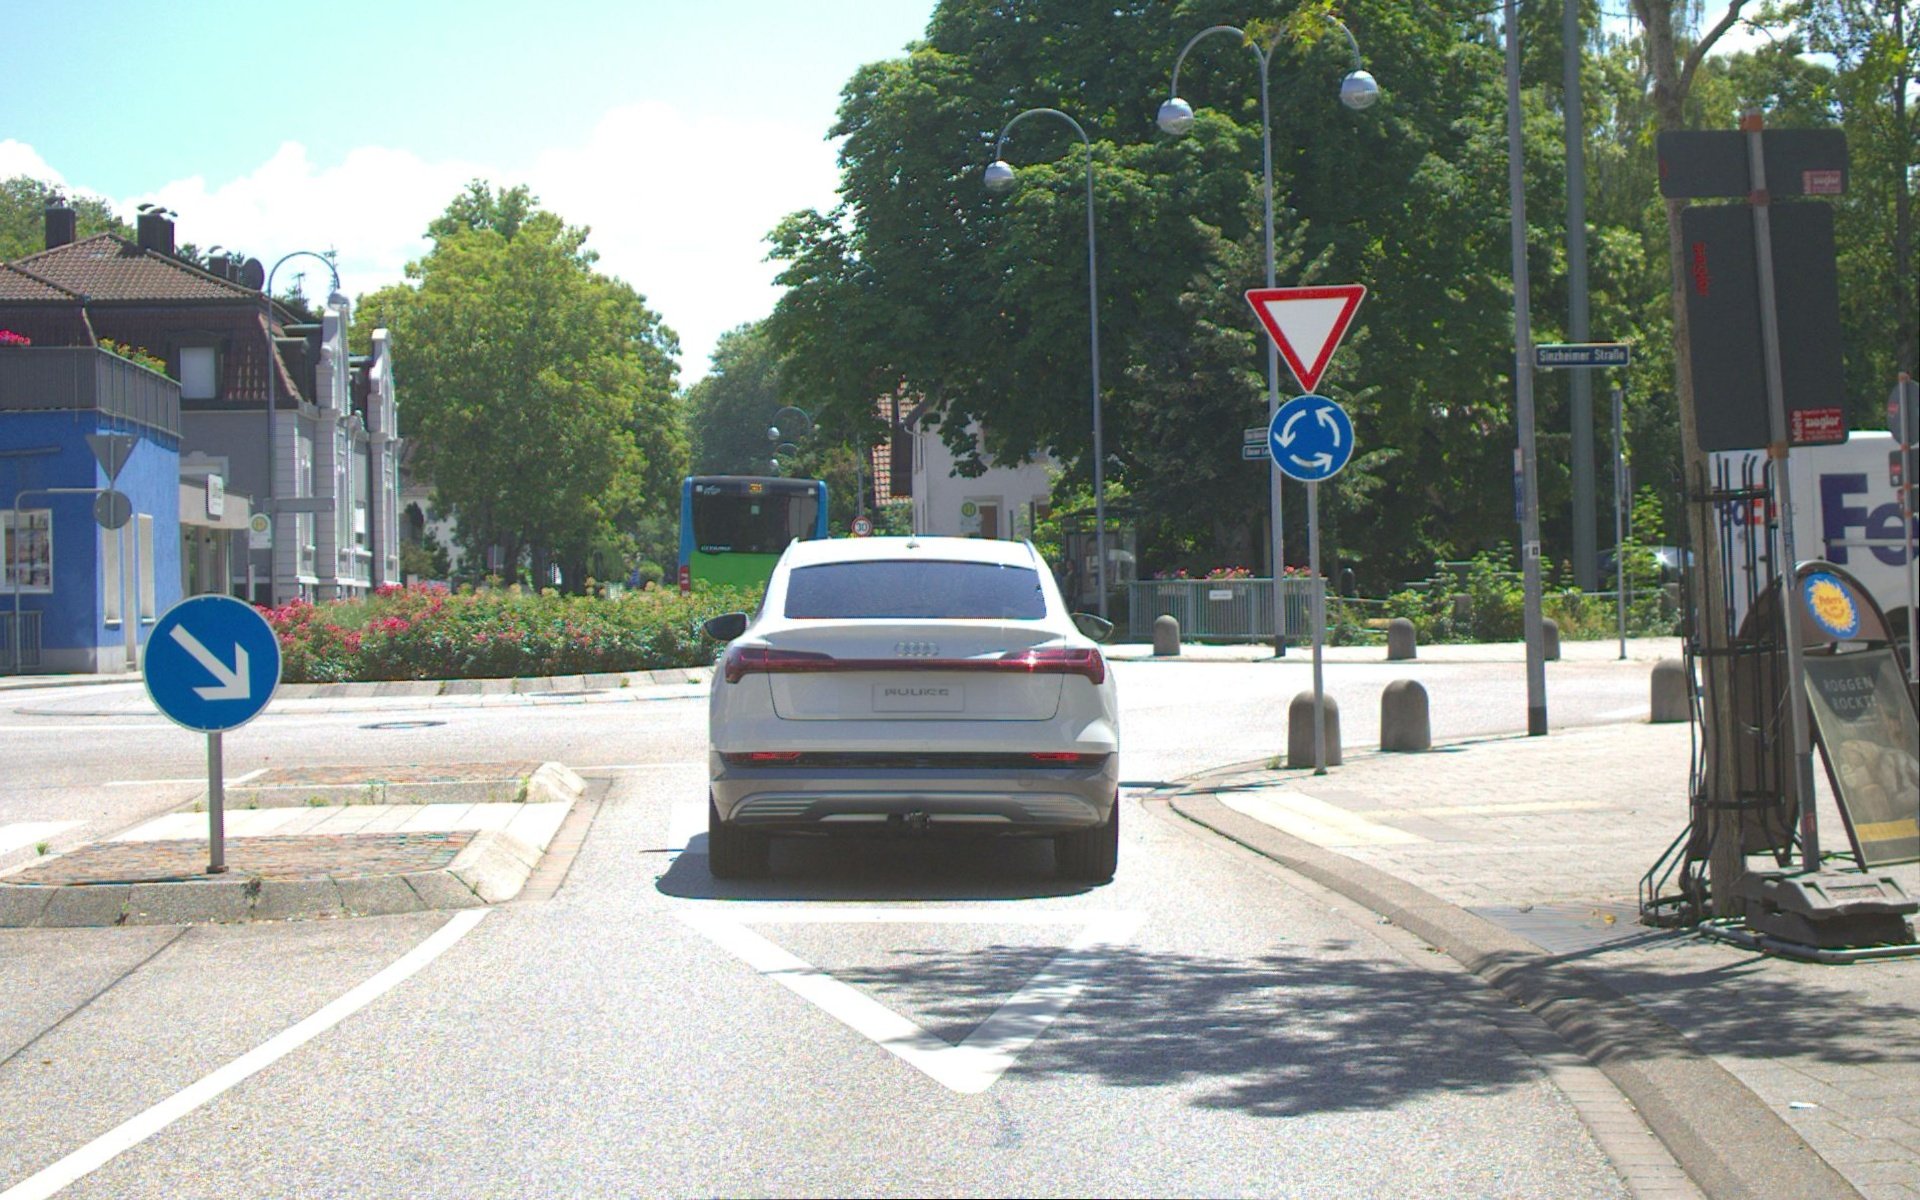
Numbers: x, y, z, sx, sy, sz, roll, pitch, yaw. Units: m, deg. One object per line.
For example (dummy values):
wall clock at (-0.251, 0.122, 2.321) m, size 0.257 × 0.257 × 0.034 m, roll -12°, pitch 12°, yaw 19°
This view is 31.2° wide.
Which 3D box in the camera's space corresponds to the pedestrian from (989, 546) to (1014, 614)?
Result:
pedestrian at (1.013, -0.491, 84.543) m, size 0.502 × 1.644 × 0.580 m, roll -1°, pitch 1°, yaw -9°

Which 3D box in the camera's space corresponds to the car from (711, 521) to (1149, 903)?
car at (-0.229, 0.461, 17.167) m, size 1.898 × 1.656 × 4.410 m, roll 0°, pitch 1°, yaw -3°

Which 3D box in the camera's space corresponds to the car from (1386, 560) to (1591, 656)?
car at (9.107, 0.122, 59.292) m, size 3.048 × 1.547 × 1.635 m, roll -2°, pitch 1°, yaw -16°

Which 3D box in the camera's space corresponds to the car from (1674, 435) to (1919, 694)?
car at (10.206, -0.416, 34.995) m, size 5.465 × 2.472 × 2.001 m, roll -2°, pitch 1°, yaw -19°

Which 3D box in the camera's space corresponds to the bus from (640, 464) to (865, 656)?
bus at (-4.239, -0.686, 66.488) m, size 3.706 × 3.160 × 18.072 m, roll 1°, pitch 0°, yaw -5°

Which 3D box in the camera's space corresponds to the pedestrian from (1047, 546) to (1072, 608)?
pedestrian at (2.446, -0.563, 84.393) m, size 0.488 × 1.517 × 0.543 m, roll -1°, pitch 1°, yaw -9°
